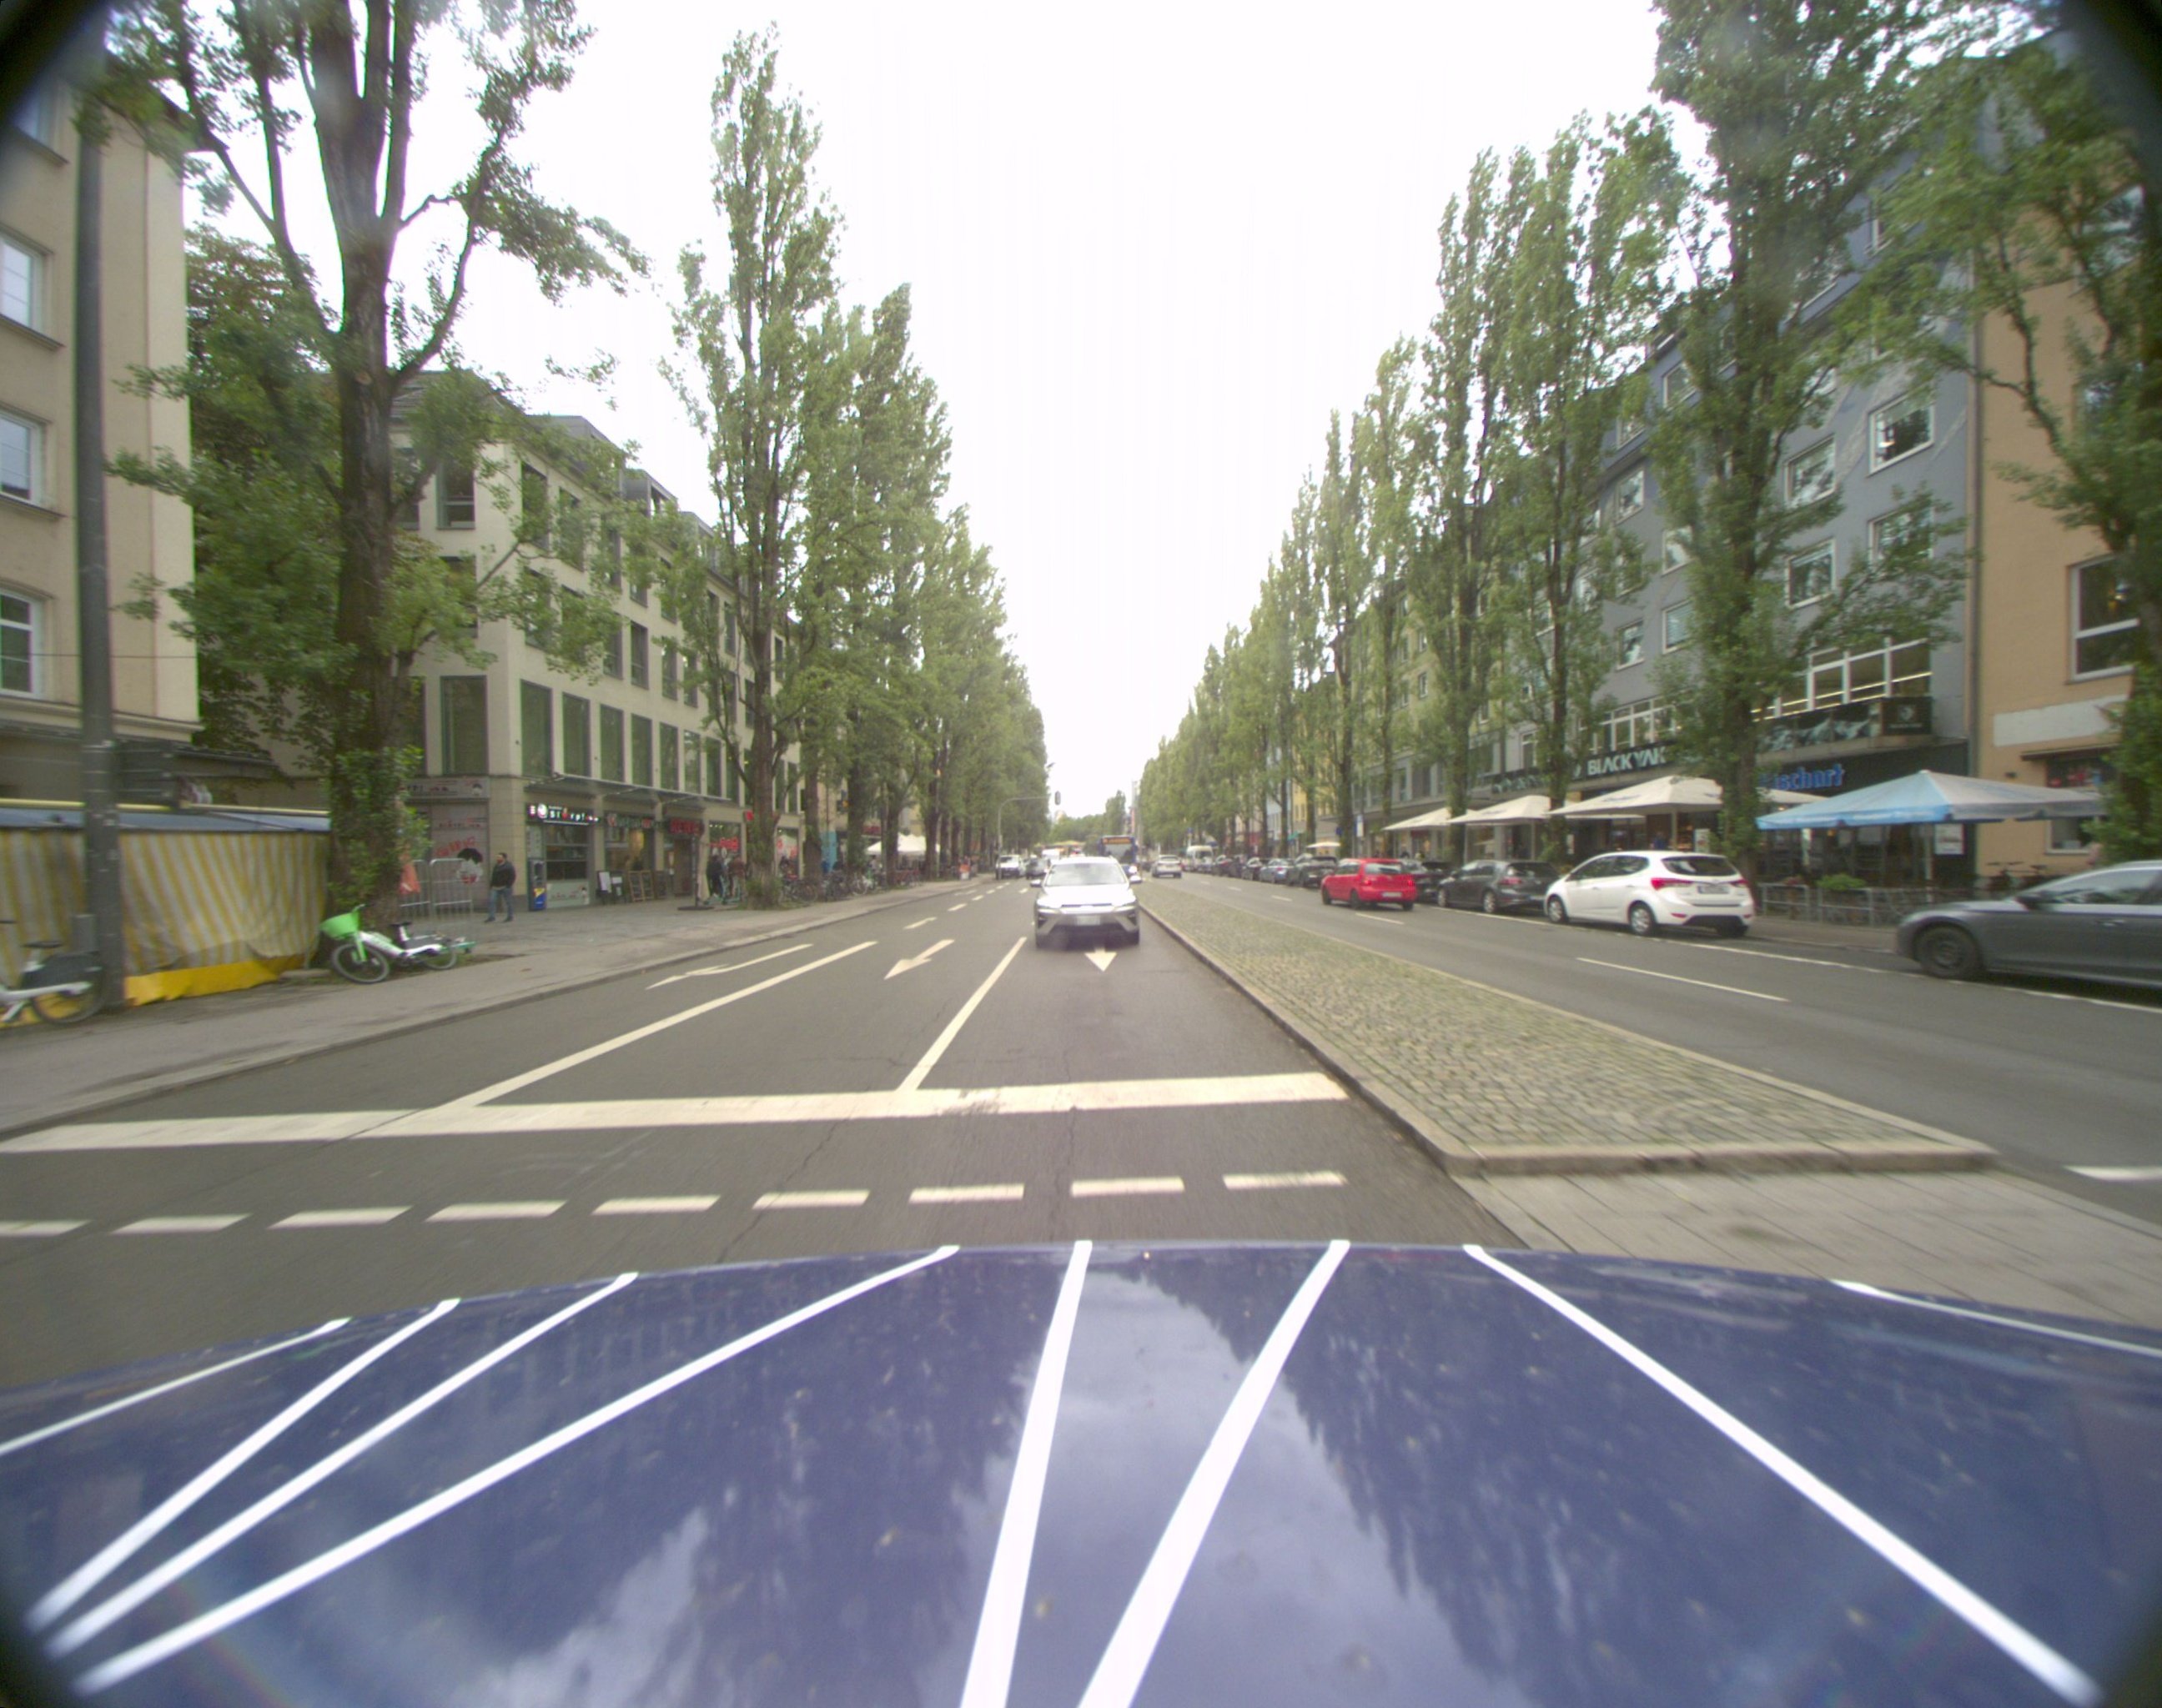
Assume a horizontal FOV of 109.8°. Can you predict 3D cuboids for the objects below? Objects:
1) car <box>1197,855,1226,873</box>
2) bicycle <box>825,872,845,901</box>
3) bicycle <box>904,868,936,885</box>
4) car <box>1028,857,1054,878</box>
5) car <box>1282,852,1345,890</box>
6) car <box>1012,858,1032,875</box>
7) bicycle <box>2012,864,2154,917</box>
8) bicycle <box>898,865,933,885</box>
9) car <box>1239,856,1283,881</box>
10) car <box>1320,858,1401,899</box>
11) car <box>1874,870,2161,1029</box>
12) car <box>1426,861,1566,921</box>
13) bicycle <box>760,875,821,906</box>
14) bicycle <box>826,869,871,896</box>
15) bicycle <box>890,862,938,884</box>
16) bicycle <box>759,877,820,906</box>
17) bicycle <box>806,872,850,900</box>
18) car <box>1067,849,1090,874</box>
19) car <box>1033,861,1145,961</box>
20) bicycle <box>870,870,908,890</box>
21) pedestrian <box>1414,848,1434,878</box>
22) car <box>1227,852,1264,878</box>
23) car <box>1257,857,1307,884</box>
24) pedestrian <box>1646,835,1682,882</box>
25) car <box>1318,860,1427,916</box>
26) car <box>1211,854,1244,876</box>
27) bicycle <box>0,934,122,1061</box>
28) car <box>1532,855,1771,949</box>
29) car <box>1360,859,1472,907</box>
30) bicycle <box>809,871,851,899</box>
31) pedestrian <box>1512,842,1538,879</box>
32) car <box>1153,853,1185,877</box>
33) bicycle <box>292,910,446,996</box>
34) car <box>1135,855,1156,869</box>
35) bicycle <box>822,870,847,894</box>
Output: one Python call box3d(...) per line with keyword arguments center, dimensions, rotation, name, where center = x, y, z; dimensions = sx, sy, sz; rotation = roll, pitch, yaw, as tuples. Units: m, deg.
box3d(center=(11.566, 0.845, 67.609), dimensions=(1.707, 1.520, 4.260), rotation=(0, 1, -1), name="car")
box3d(center=(-9.674, 1.280, 29.930), dimensions=(0.435, 1.055, 2.003), rotation=(-1, 0, -10), name="bicycle")
box3d(center=(-9.747, 1.341, 46.050), dimensions=(1.844, 1.003, 0.503), rotation=(-1, 0, 0), name="bicycle")
box3d(center=(-3.087, 1.018, 59.181), dimensions=(1.758, 1.529, 3.916), rotation=(-2, 0, 0), name="car")
box3d(center=(11.280, 0.780, 37.187), dimensions=(1.784, 1.671, 4.586), rotation=(0, 1, 2), name="car")
box3d(center=(-5.174, 1.065, 67.075), dimensions=(1.476, 1.389, 3.483), rotation=(-1, 0, 1), name="car")
box3d(center=(20.833, 0.725, 15.869), dimensions=(0.443, 0.996, 1.957), rotation=(-1, 0, 2), name="bicycle")
box3d(center=(-9.821, 1.244, 45.149), dimensions=(1.902, 1.120, 0.686), rotation=(-1, 1, 0), name="bicycle")
box3d(center=(11.312, 0.851, 47.960), dimensions=(1.707, 1.438, 4.585), rotation=(0, 1, 0), name="car")
box3d(center=(11.162, 0.922, 30.687), dimensions=(1.681, 1.458, 4.369), rotation=(0, 1, 0), name="car")
box3d(center=(11.124, 0.949, 7.507), dimensions=(1.707, 1.430, 4.589), rotation=(0, 1, -1), name="car")
box3d(center=(11.078, 0.933, 20.643), dimensions=(1.497, 1.373, 4.186), rotation=(0, 1, 0), name="car")
box3d(center=(-10.414, 1.304, 27.268), dimensions=(2.006, 1.077, 0.285), rotation=(-1, 1, -16), name="bicycle")
box3d(center=(-10.211, 1.236, 33.387), dimensions=(1.871, 1.129, 0.339), rotation=(-1, 1, -8), name="bicycle")
box3d(center=(-9.687, 1.089, 44.119), dimensions=(2.577, 1.208, 0.965), rotation=(-1, 0, 0), name="bicycle")
box3d(center=(-10.572, 1.357, 27.596), dimensions=(2.006, 0.939, 0.285), rotation=(-1, 1, -15), name="bicycle")
box3d(center=(-10.560, 1.324, 31.727), dimensions=(1.679, 1.110, 0.286), rotation=(-1, 1, -12), name="bicycle")
box3d(center=(-0.261, 0.682, 71.180), dimensions=(2.025, 2.235, 4.410), rotation=(-2, 0, 0), name="car")
box3d(center=(0.123, 0.933, 14.086), dimensions=(1.758, 1.529, 3.916), rotation=(-1, 0, 0), name="car")
box3d(center=(-9.657, 1.295, 38.165), dimensions=(1.842, 1.003, 0.393), rotation=(0, 1, 9), name="bicycle")
box3d(center=(20.213, 0.517, 44.830), dimensions=(0.820, 1.744, 0.756), rotation=(-1, 1, 1), name="pedestrian")
box3d(center=(11.582, 0.763, 53.812), dimensions=(1.622, 1.677, 3.770), rotation=(1, 1, -2), name="car")
box3d(center=(11.263, 0.895, 42.922), dimensions=(1.662, 1.409, 4.400), rotation=(0, 1, 0), name="car")
box3d(center=(21.746, 0.171, 28.347), dimensions=(0.742, 1.744, 0.756), rotation=(-1, 0, 1), name="pedestrian")
box3d(center=(8.361, 0.922, 22.170), dimensions=(1.741, 1.429, 3.823), rotation=(0, 0, 0), name="car")
box3d(center=(11.322, 0.806, 58.938), dimensions=(1.707, 1.623, 4.503), rotation=(0, 1, 0), name="car")
box3d(center=(-9.887, 1.328, 6.742), dimensions=(0.510, 1.042, 1.770), rotation=(-1, 0, -1), name="bicycle")
box3d(center=(11.102, 0.836, 15.221), dimensions=(1.707, 1.574, 4.095), rotation=(0, 1, 0), name="car")
box3d(center=(11.110, 0.893, 25.578), dimensions=(1.707, 1.404, 4.432), rotation=(0, 1, -2), name="car")
box3d(center=(-10.608, 1.305, 32.143), dimensions=(1.666, 1.100, 0.396), rotation=(-1, 0, -11), name="bicycle")
box3d(center=(20.029, 0.283, 34.263), dimensions=(0.742, 1.631, 0.756), rotation=(-1, 0, 2), name="pedestrian")
box3d(center=(6.369, 0.762, 55.426), dimensions=(1.848, 1.626, 4.575), rotation=(1, 0, 1), name="car")
box3d(center=(-9.914, 1.337, 10.680), dimensions=(0.510, 0.970, 1.770), rotation=(-1, 0, -1), name="bicycle")
box3d(center=(6.621, 0.823, 78.363), dimensions=(1.841, 1.353, 4.176), rotation=(1, 0, 0), name="car")
box3d(center=(-11.832, 1.337, 36.533), dimensions=(0.392, 1.057, 2.006), rotation=(0, 0, 4), name="bicycle")
